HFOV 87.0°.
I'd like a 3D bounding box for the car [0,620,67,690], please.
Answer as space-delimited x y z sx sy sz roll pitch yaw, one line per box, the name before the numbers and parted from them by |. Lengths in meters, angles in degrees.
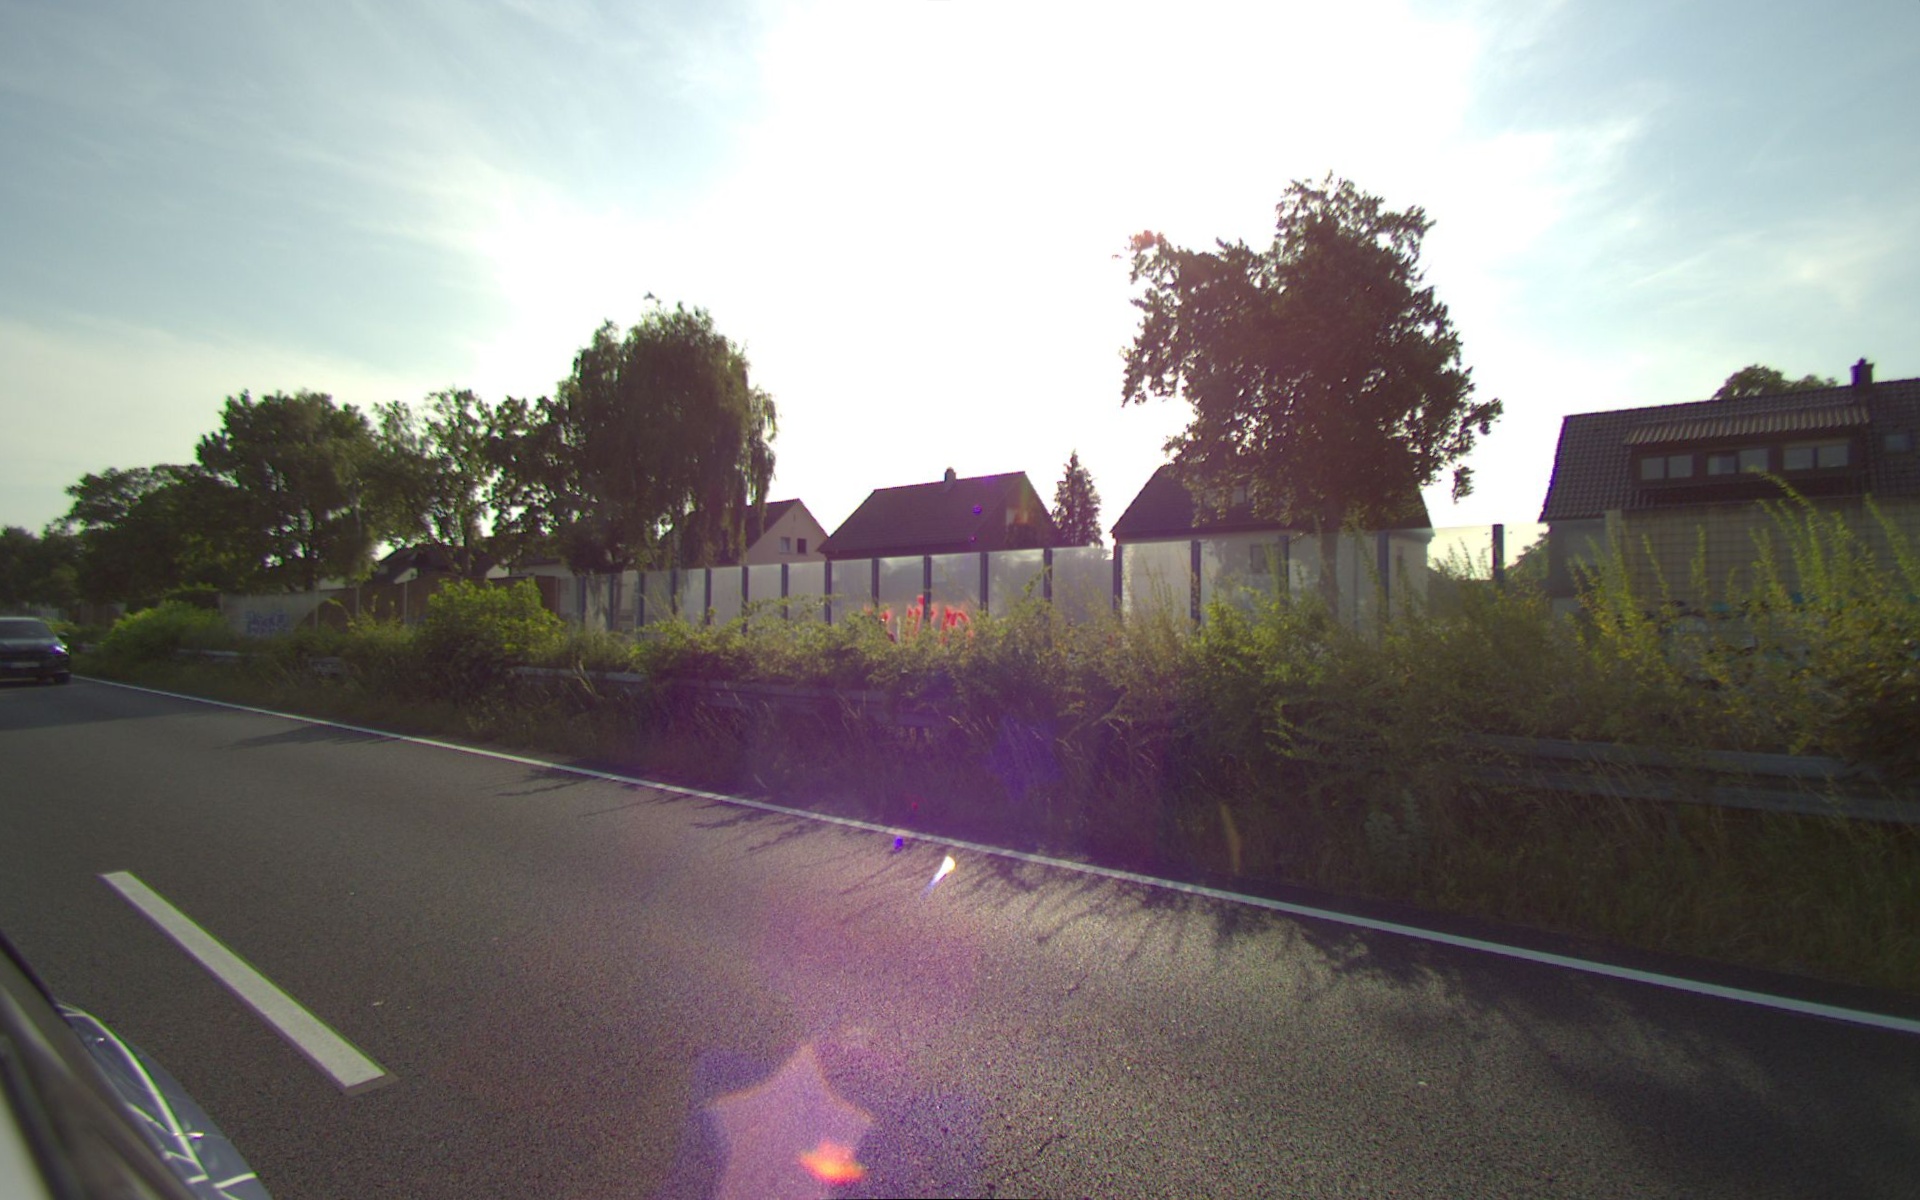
car | -22.978 1.269 24.271 4.244 1.536 1.798 -1 0 41
